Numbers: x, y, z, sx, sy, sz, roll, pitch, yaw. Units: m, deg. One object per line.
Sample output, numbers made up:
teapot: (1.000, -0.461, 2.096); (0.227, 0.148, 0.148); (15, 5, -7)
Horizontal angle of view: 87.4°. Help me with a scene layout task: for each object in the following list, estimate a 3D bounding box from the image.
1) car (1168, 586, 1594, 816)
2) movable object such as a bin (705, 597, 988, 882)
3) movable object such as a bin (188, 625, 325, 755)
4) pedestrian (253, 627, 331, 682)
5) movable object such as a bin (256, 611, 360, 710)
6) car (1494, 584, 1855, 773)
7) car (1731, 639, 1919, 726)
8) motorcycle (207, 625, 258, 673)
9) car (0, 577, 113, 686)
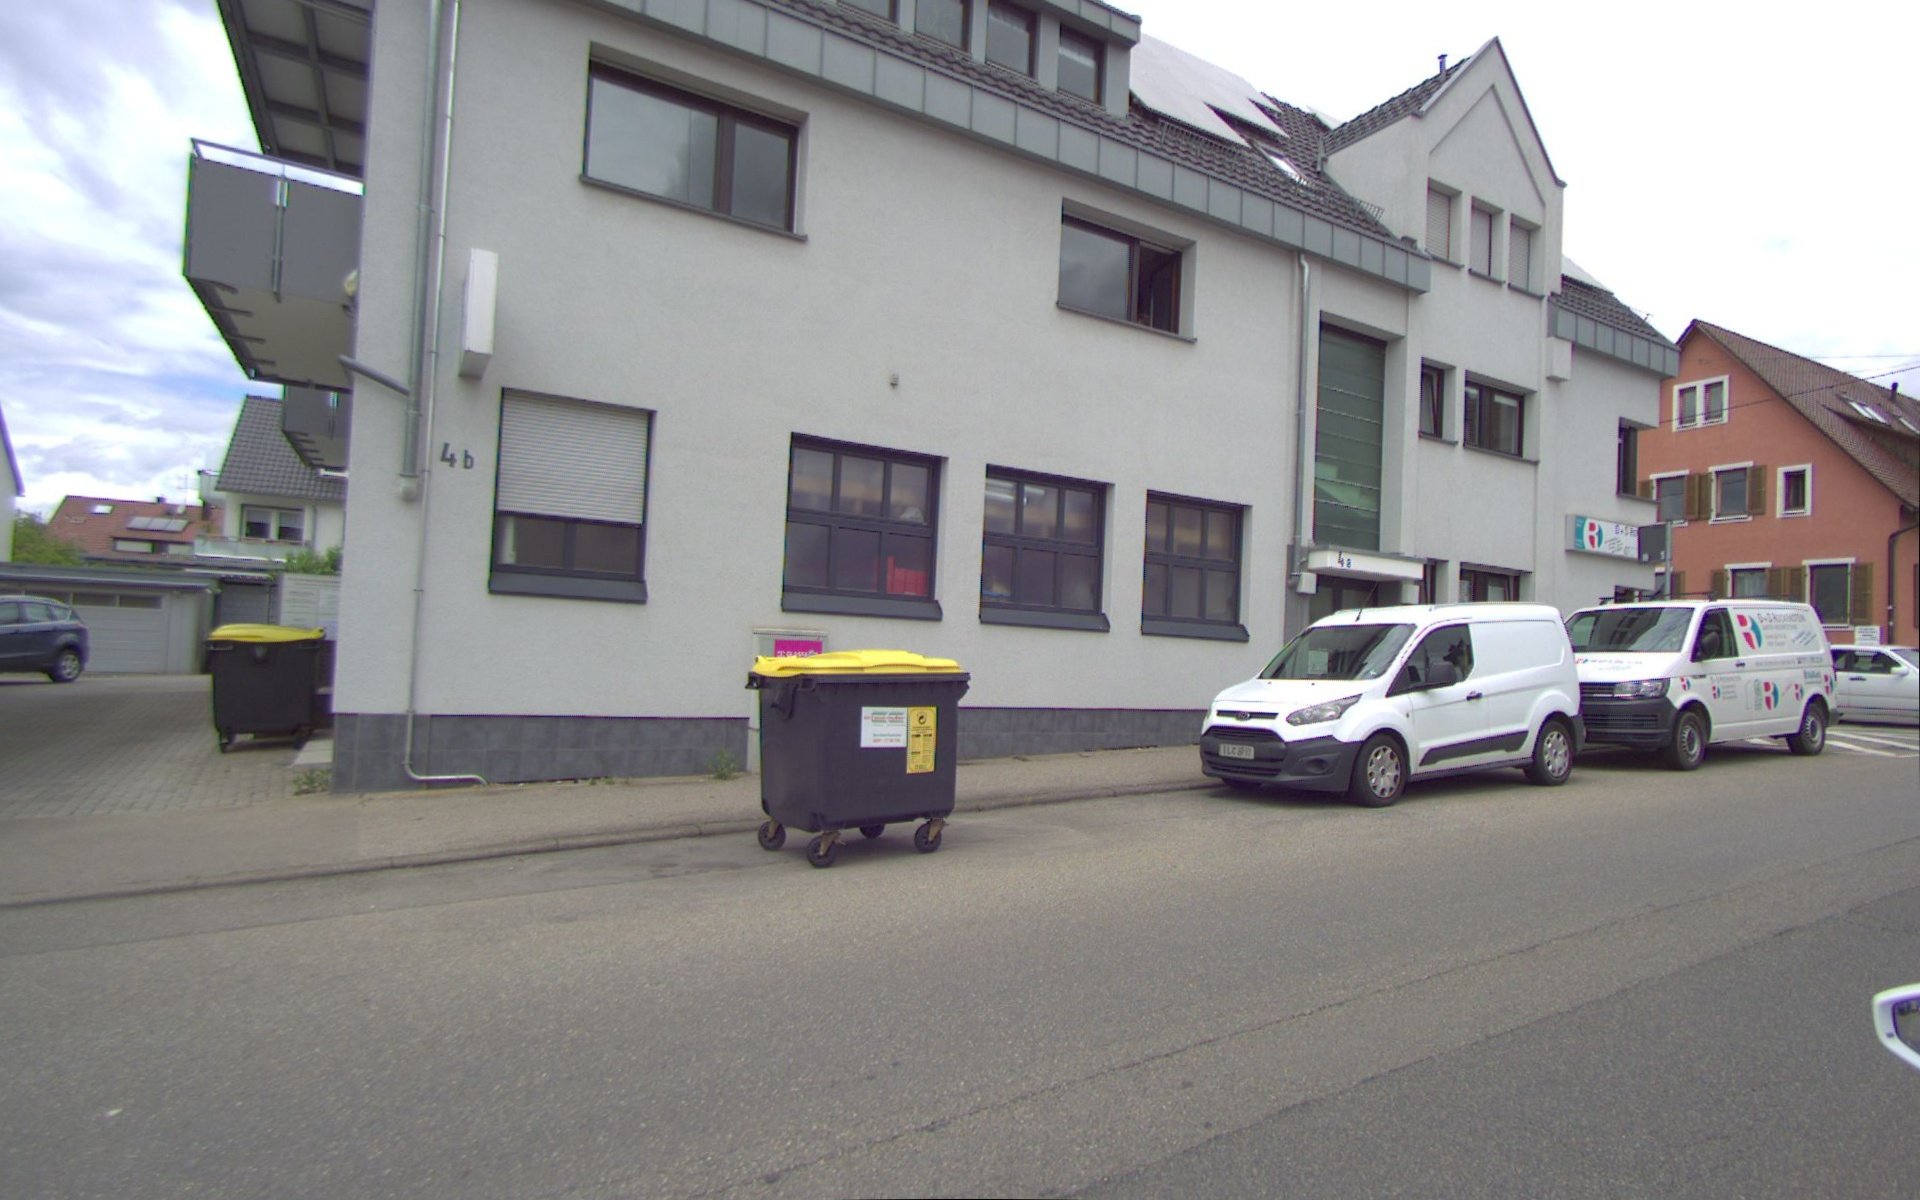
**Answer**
car: (4.255, 0.907, 9.997); (4.248, 1.855, 1.725); (1, -3, -31)
movable object such as a bin: (-0.764, 0.848, 6.775); (1.548, 1.654, 1.132); (2, -3, -37)
movable object such as a bin: (-7.678, 0.958, 11.024); (1.135, 1.317, 0.777); (2, 1, -31)
pedestrian: (-14.550, 1.178, 21.910); (1.288, 1.126, 1.016); (2, 0, -28)
movable object such as a bin: (-10.305, 0.939, 15.939); (1.201, 1.477, 1.111); (2, 0, -25)
car: (9.088, 0.931, 12.704); (4.704, 2.032, 1.805); (1, -3, -29)
car: (16.897, 1.450, 17.952); (1.974, 1.464, 4.539); (1, -3, -26)
motorcycle: (-19.371, 1.295, 26.785); (0.880, 1.179, 1.648); (2, 0, -30)
car: (-18.734, 0.607, 19.207); (1.949, 1.995, 3.957); (0, -2, -6)
